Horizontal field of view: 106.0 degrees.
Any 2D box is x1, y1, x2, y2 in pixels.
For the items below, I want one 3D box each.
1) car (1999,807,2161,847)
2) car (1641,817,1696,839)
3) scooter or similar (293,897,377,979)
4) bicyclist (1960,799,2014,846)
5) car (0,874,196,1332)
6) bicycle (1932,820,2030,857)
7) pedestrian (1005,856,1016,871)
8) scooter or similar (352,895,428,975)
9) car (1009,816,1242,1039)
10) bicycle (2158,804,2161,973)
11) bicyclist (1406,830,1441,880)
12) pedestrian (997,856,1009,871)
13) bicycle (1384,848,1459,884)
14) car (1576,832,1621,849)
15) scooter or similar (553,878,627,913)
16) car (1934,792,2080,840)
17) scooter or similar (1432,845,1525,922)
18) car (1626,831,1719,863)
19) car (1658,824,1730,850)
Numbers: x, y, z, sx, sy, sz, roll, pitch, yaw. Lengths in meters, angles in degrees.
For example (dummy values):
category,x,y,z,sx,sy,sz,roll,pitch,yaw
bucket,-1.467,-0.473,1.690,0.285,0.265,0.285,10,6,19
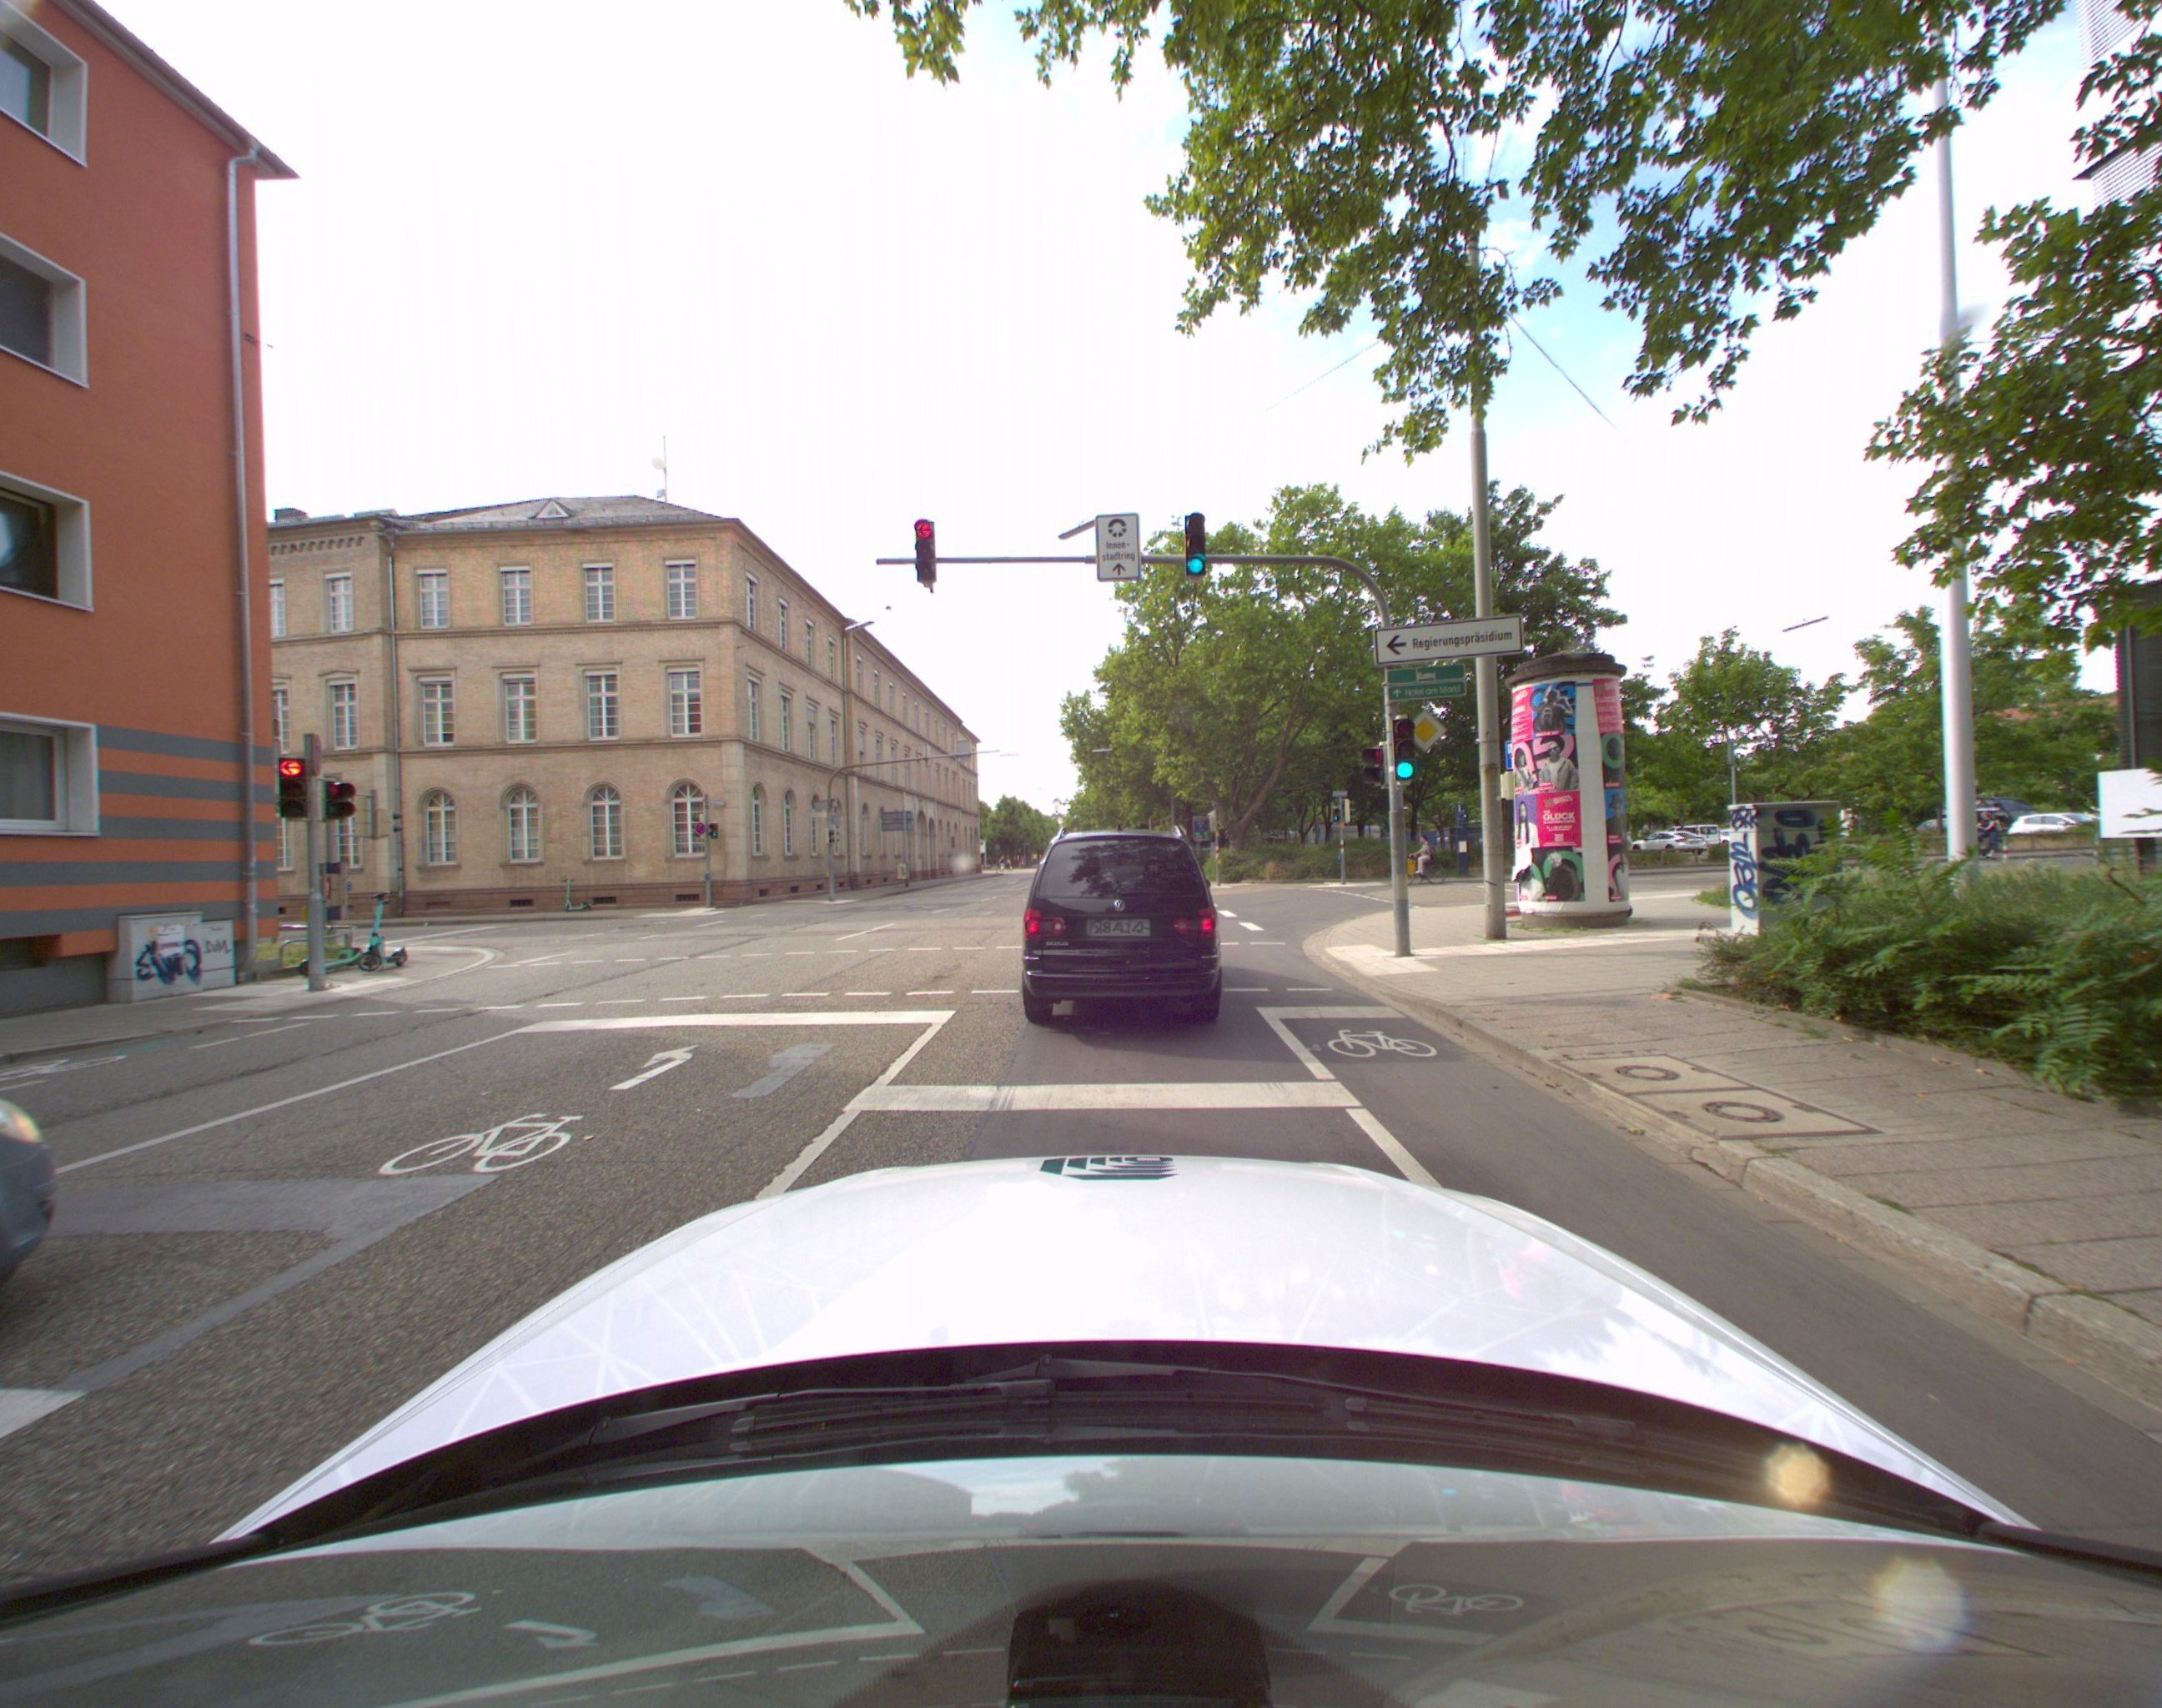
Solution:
category,x,y,z,sx,sy,sz,roll,pitch,yaw
car,44.753,-1.141,36.507,1.985,1.630,4.777,0,0,3
car,58.675,-2.600,81.473,1.988,2.013,4.771,0,0,-1
scooter or similar,-11.883,1.309,13.008,0.329,1.158,1.349,0,0,-11
bicyclist,31.881,-1.109,28.681,0.825,1.577,0.917,-2,-2,6
car,-4.322,0.827,1.245,1.662,1.438,3.821,-2,0,1
bicycle,31.709,-0.532,28.723,2.233,1.172,0.917,-2,-2,6
pedestrian,-8.098,1.074,93.384,0.888,1.641,0.857,0,0,20
scooter or similar,-11.269,1.290,13.319,0.329,1.179,1.338,0,0,-11
car,0.402,0.587,8.529,1.787,1.708,4.132,-2,0,1
bicycle,7.803,0.238,4.785,0.695,1.169,1.726,0,0,2
bicyclist,12.010,0.047,28.573,0.825,1.678,0.917,-2,-2,6
pedestrian,-8.929,1.106,93.611,0.952,1.741,1.262,0,0,20
bicycle,11.923,0.412,28.572,2.233,1.172,0.917,-2,-2,6
car,51.459,-1.344,81.070,1.988,1.580,3.788,0,0,-1
scooter or similar,-17.090,1.442,28.347,2.355,1.165,0.561,0,0,7
car,54.812,-2.168,48.427,2.427,2.613,5.495,0,0,-1
scooter or similar,6.706,0.493,13.753,1.299,1.209,0.345,-4,-1,6
car,35.096,-0.415,48.505,1.988,1.794,4.771,0,0,-1
car,48.626,-1.307,64.749,1.989,2.013,4.768,0,0,-3
